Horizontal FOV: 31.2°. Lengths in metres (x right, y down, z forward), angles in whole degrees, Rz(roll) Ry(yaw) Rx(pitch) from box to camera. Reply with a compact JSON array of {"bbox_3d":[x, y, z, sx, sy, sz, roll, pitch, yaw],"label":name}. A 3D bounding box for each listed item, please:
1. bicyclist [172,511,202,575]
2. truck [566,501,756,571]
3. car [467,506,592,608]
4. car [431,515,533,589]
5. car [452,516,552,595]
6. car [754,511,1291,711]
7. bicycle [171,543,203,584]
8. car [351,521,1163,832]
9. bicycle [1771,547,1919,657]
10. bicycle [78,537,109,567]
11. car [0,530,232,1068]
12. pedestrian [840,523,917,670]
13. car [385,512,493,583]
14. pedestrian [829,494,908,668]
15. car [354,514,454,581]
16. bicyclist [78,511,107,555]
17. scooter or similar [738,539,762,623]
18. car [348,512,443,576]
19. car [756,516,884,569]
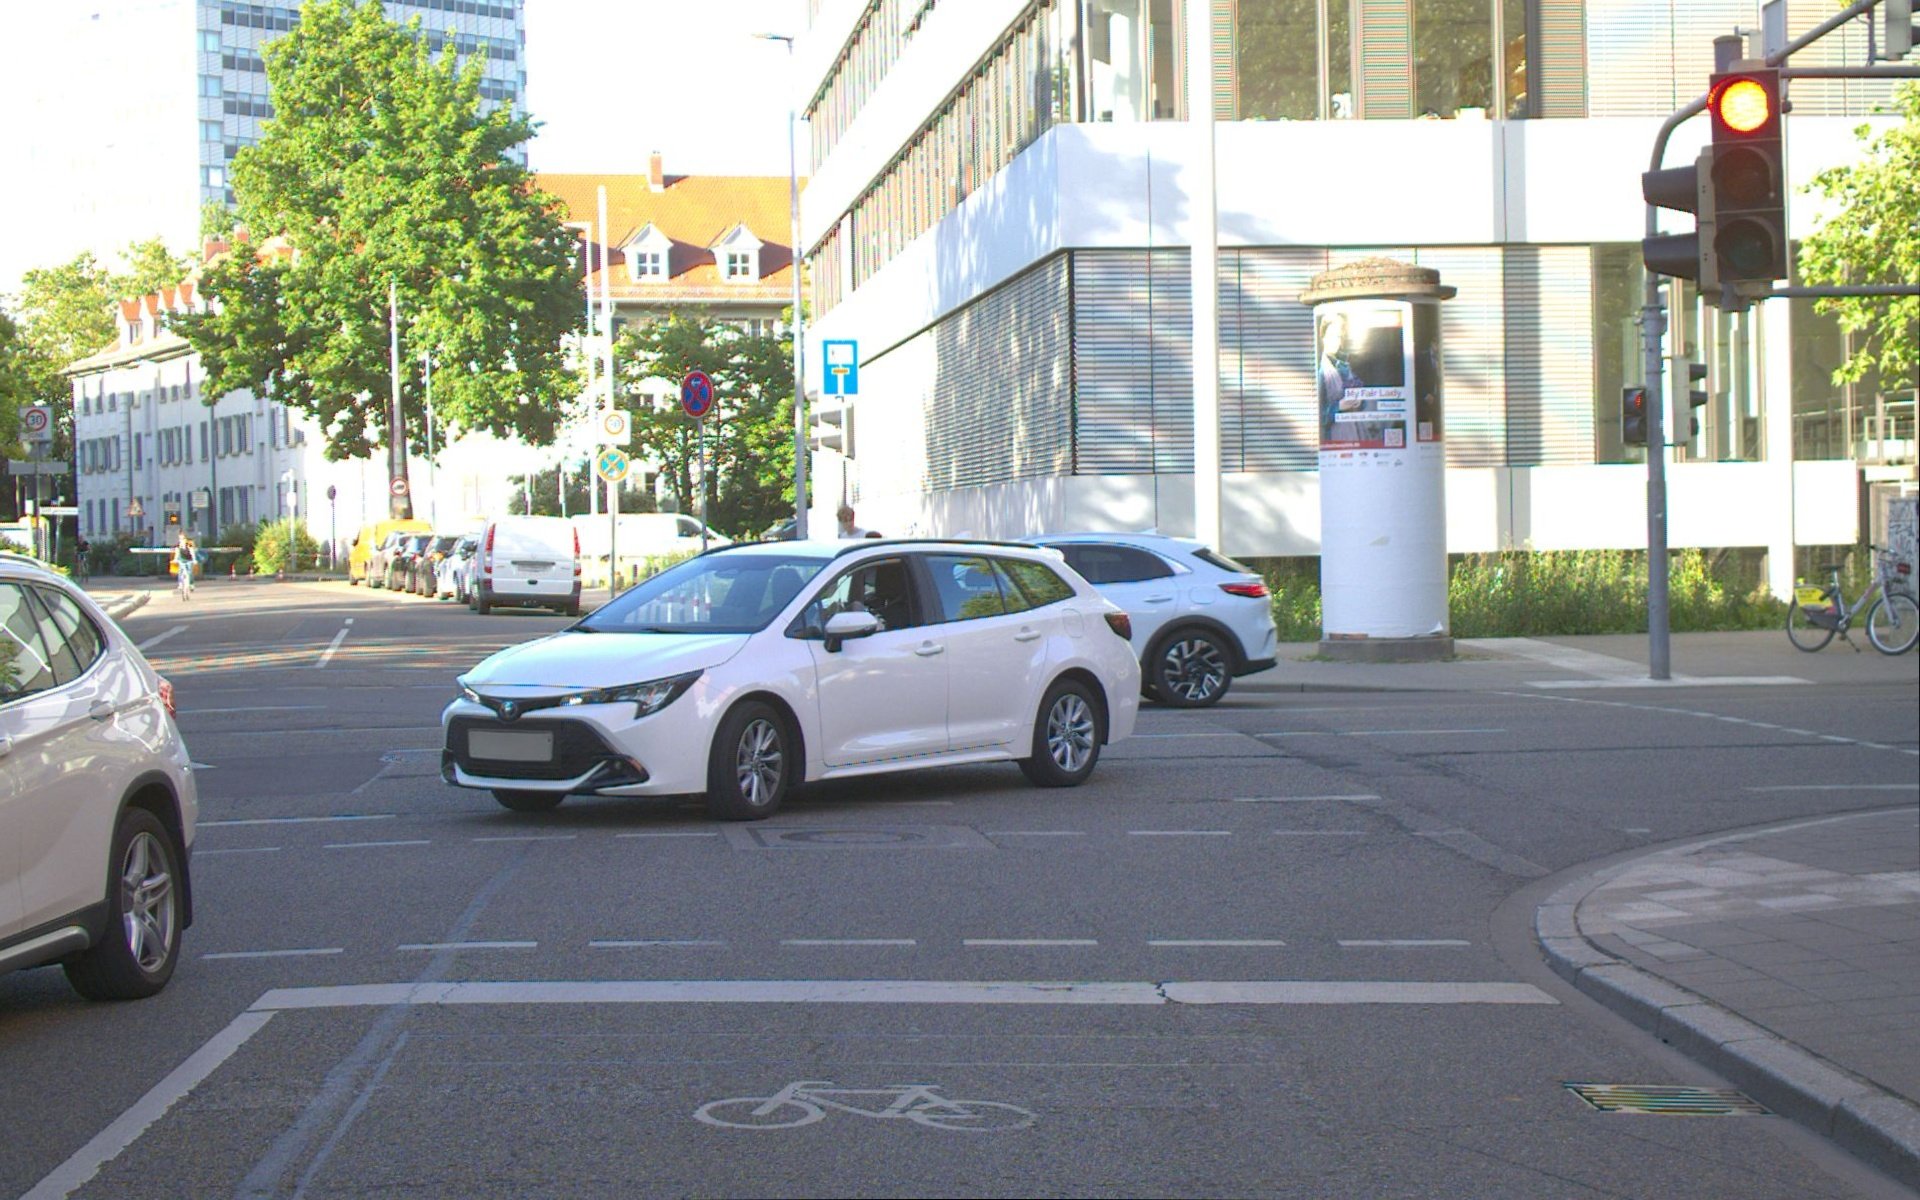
[{"bbox_3d":[-18.841,-1.384,83.794,0.615,1.527,0.903,-2,1,-9],"label":"bicyclist"},{"bbox_3d":[-8.960,-1.922,103.033,5.336,2.007,2.001,-1,1,-19],"label":"truck"},{"bbox_3d":[-8.132,-0.843,64.656,2.084,1.789,4.417,-1,2,-10],"label":"car"},{"bbox_3d":[-10.915,-1.117,78.296,1.888,1.550,4.417,-1,2,-13],"label":"car"},{"bbox_3d":[-9.741,-0.971,72.926,1.888,1.550,4.417,-1,2,-10],"label":"car"},{"bbox_3d":[0.484,0.064,29.216,4.319,1.570,1.824,-1,1,-7],"label":"car"},{"bbox_3d":[-18.830,-0.896,83.791,0.615,0.966,1.842,-2,1,-9],"label":"bicycle"},{"bbox_3d":[-0.992,0.335,19.084,1.891,1.471,4.534,0,1,40],"label":"car"},{"bbox_3d":[9.314,0.009,36.019,0.507,1.045,1.687,-4,5,-35],"label":"bicycle"},{"bbox_3d":[-30.696,-1.711,121.799,0.865,1.006,2.415,-4,1,-11],"label":"bicycle"},{"bbox_3d":[-3.745,0.649,10.166,1.686,1.577,4.274,-3,1,8],"label":"car"},{"bbox_3d":[-0.885,-0.044,37.186,0.559,1.535,0.677,-5,2,-18],"label":"pedestrian"},{"bbox_3d":[-12.998,-1.334,85.543,1.888,1.650,4.417,-1,2,-19],"label":"car"},{"bbox_3d":[-1.001,-0.215,37.789,0.560,1.844,0.677,-3,2,16],"label":"pedestrian"},{"bbox_3d":[-14.694,-1.414,90.635,1.888,1.650,4.417,-1,2,-19],"label":"car"},{"bbox_3d":[-30.728,-2.366,121.802,0.865,1.510,1.019,-4,1,-11],"label":"bicyclist"},{"bbox_3d":[-3.586,-0.330,58.553,0.330,1.419,1.335,1,0,-6],"label":"scooter or similar"},{"bbox_3d":[-15.693,-1.576,95.478,1.888,1.650,4.417,-1,2,-19],"label":"car"},{"bbox_3d":[-4.245,-1.741,104.221,3.554,1.541,1.559,-1,1,-19],"label":"car"}]
